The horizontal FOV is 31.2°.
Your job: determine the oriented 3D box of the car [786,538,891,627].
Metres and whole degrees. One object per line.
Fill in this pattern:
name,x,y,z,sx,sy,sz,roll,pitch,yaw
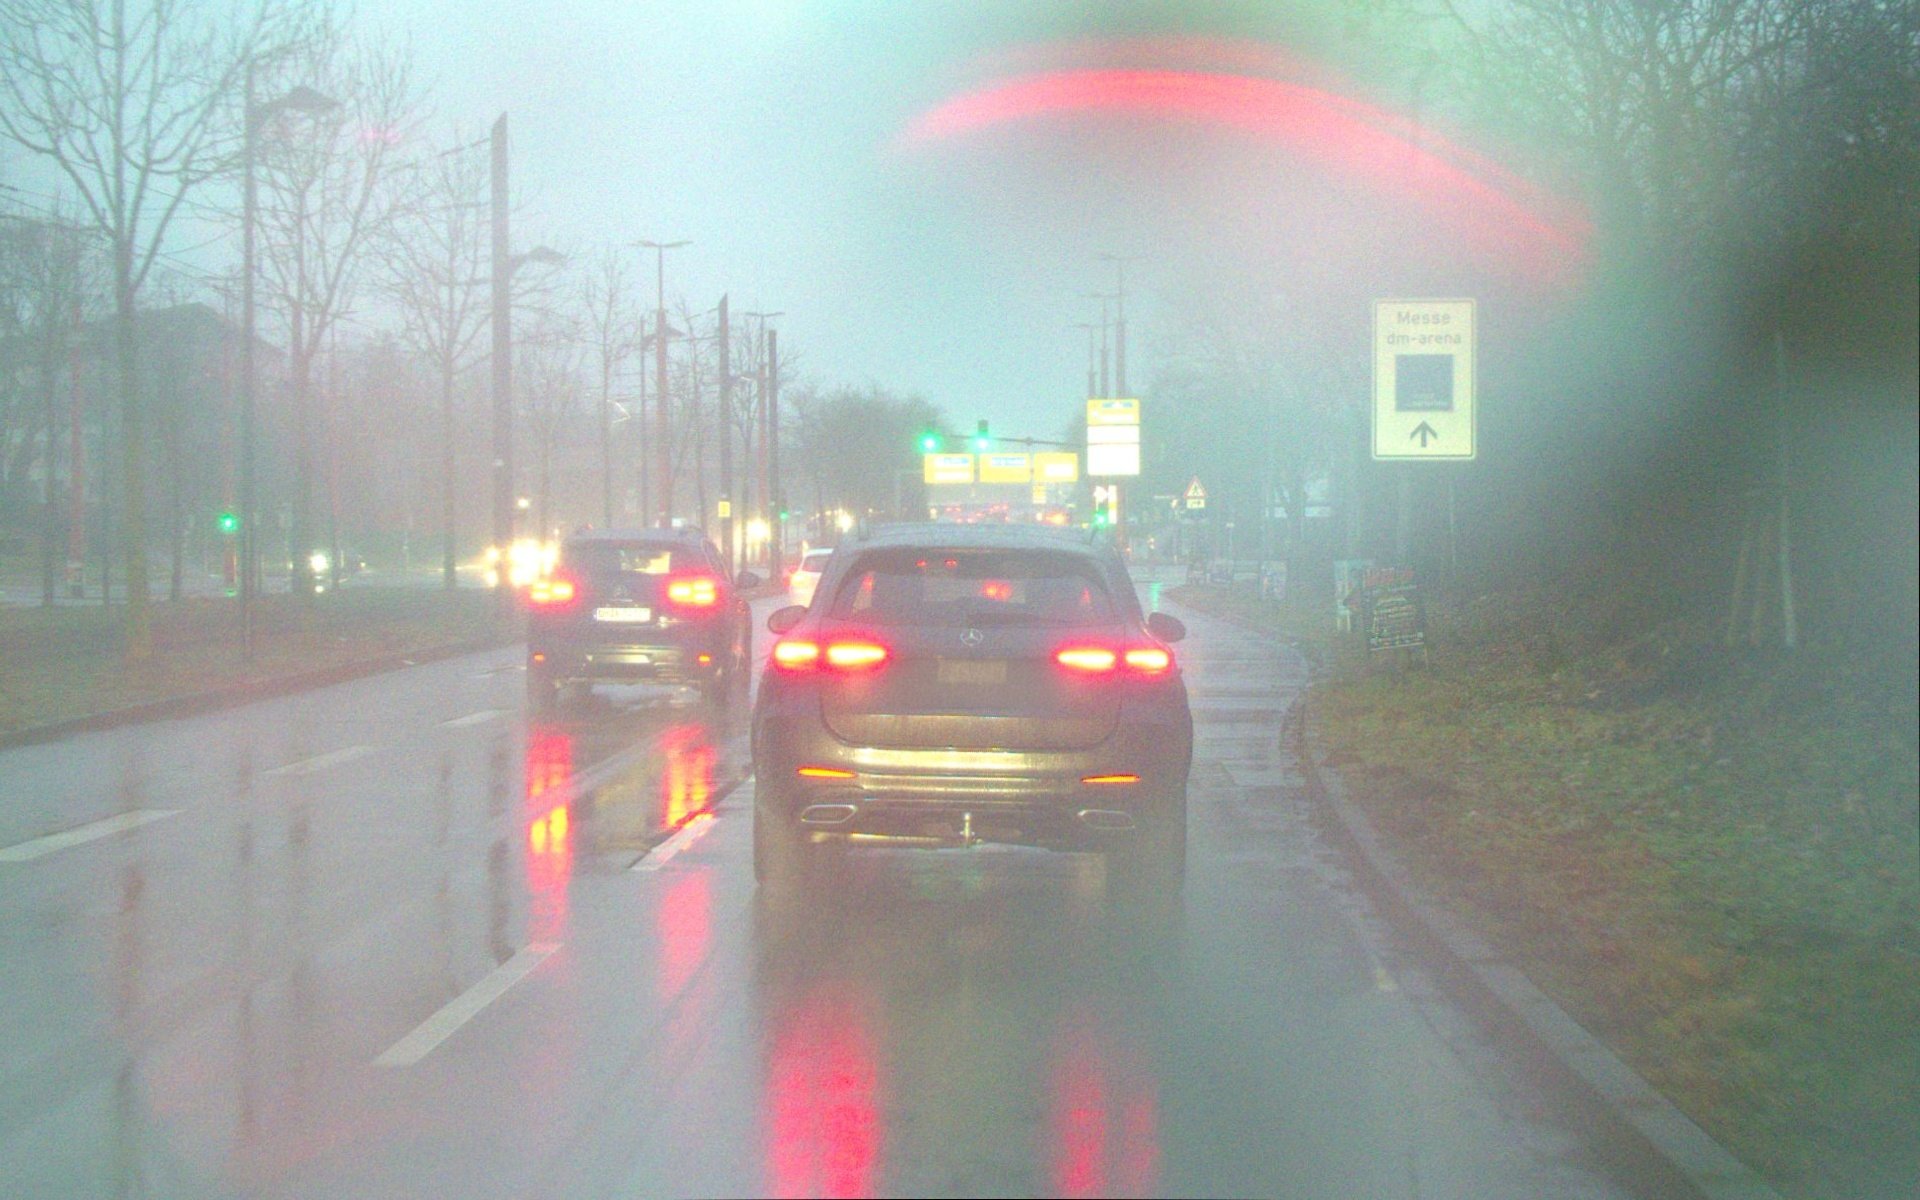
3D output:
car,-2.174,-0.337,62.388,1.708,1.552,3.996,0,1,1

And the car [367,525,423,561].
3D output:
car,-27.365,-2.748,166.680,1.993,1.652,4.000,1,0,1

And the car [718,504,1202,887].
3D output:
car,0.018,0.353,16.278,1.998,1.578,4.000,0,1,1

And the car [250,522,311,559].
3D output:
car,-31.597,-2.767,159.934,1.993,1.652,4.000,1,0,1

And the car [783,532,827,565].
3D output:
car,-7.924,-2.659,175.826,1.993,1.660,3.836,0,1,1

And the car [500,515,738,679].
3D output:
car,-3.182,-0.077,32.797,1.880,1.454,4.000,0,1,0
